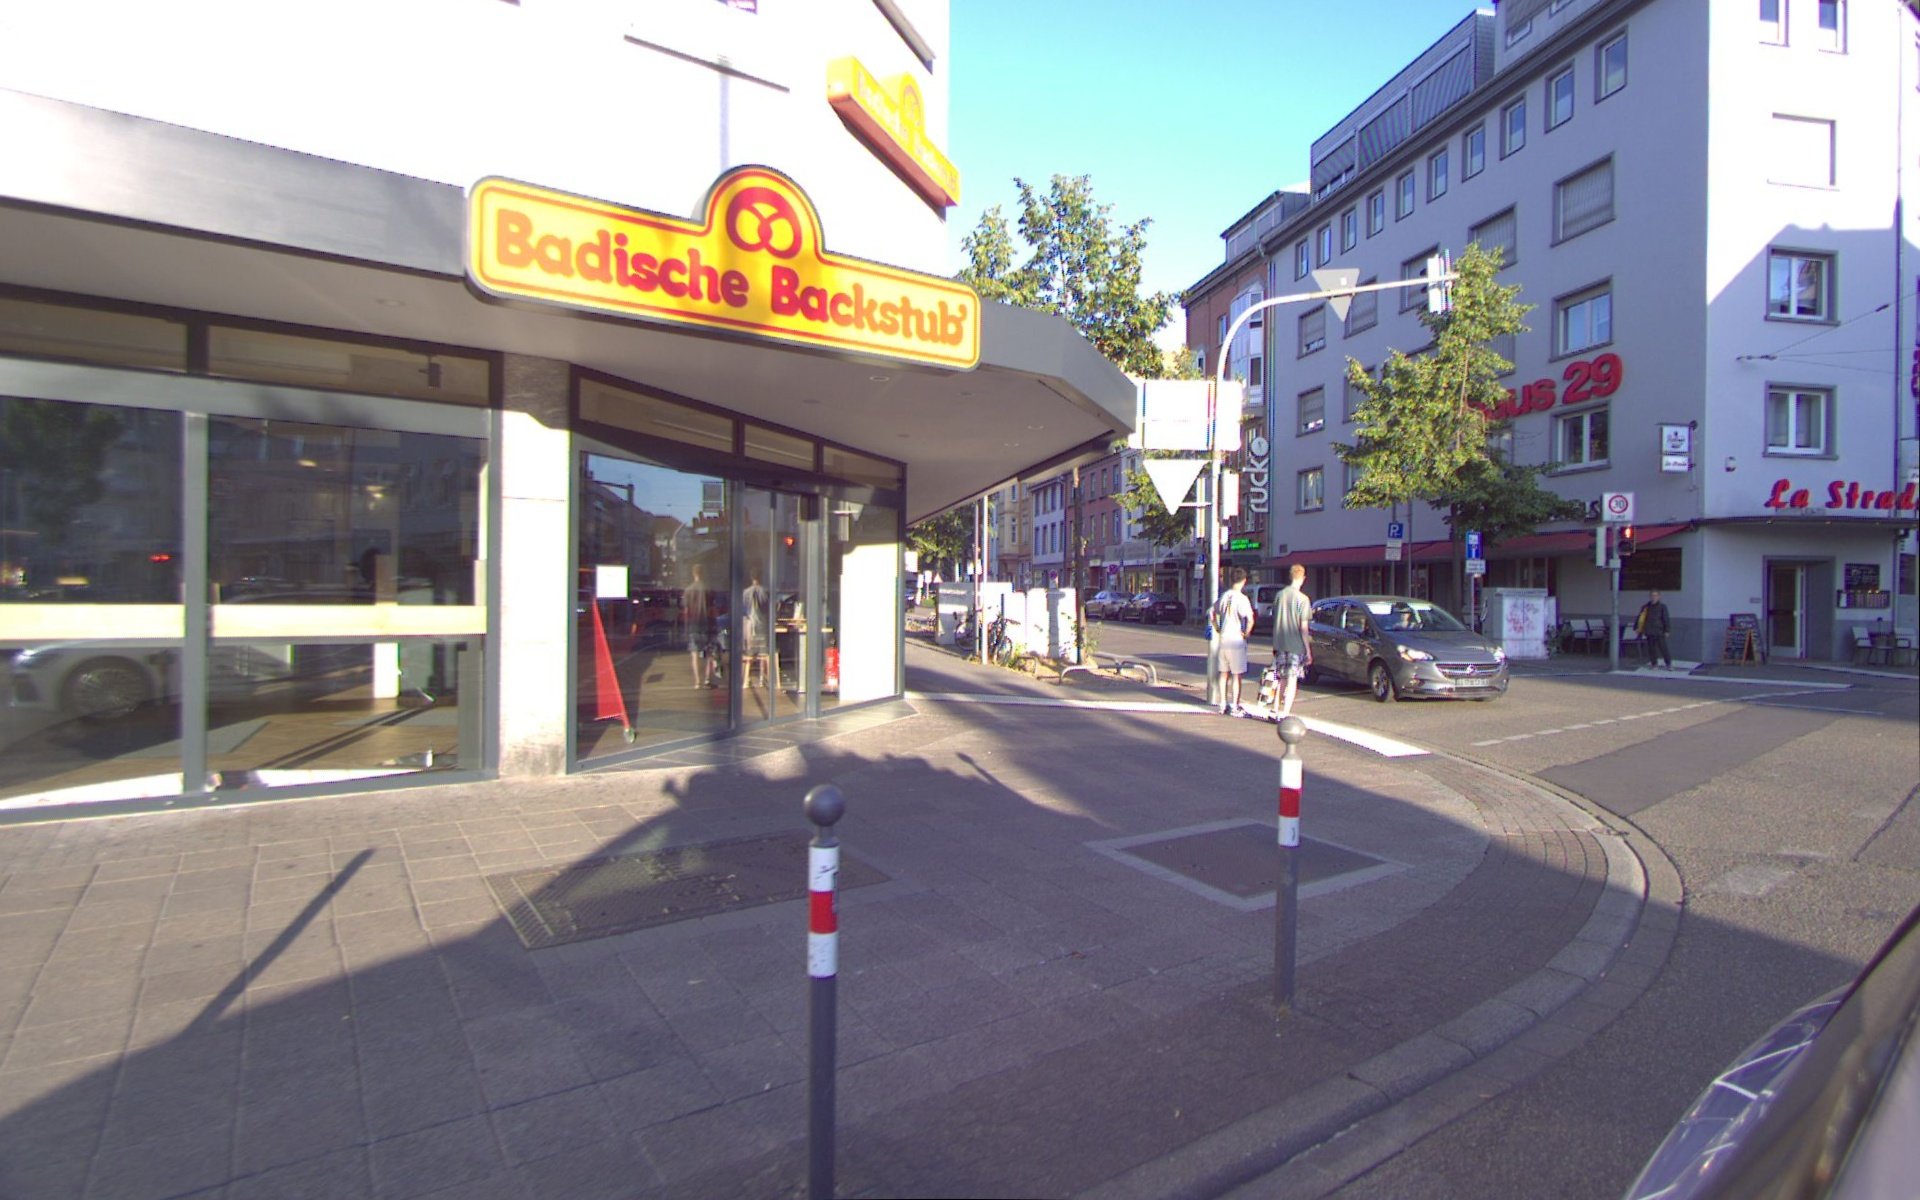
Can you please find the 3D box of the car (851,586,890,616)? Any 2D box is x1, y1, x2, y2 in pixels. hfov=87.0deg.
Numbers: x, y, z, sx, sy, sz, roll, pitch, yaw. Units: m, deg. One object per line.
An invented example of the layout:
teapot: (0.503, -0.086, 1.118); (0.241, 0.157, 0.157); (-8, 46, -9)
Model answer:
car: (-4.656, 0.050, 52.299); (1.620, 1.446, 4.007); (-1, 1, -11)

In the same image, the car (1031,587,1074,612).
car: (5.846, -0.054, 64.311); (1.701, 1.544, 3.849); (1, 0, -11)

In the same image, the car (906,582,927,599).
car: (-4.702, -1.041, 109.421); (1.730, 1.795, 3.879); (0, 1, -11)

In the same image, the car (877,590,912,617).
car: (-4.187, 0.194, 64.523); (1.657, 1.561, 3.739); (-1, 2, -12)

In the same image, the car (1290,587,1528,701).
car: (6.523, 0.545, 15.192); (1.556, 1.471, 3.847); (0, 1, -6)

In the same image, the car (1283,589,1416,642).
car: (11.608, 0.416, 30.479); (1.620, 1.370, 4.321); (1, 1, -12)

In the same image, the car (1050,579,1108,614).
car: (6.790, -0.195, 58.255); (1.933, 1.908, 4.956); (0, 0, -11)

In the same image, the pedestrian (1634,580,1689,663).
pedestrian: (14.505, 0.425, 20.933); (0.576, 1.677, 0.799); (0, 0, -37)

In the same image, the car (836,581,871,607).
car: (-6.269, -0.373, 59.290); (1.582, 1.411, 3.702); (-1, 1, -12)

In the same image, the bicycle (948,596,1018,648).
bicycle: (0.562, 0.514, 24.368); (1.627, 1.209, 0.495); (0, 0, -23)

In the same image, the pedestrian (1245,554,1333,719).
pedestrian: (3.735, 0.388, 11.491); (0.576, 1.795, 0.748); (0, 0, -41)

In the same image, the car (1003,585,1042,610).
car: (4.460, -0.197, 72.852); (1.839, 1.749, 4.149); (0, 1, -11)

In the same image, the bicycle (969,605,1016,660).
bicycle: (0.635, 0.631, 20.208); (0.396, 1.023, 1.674); (2, 0, -16)

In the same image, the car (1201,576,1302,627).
car: (10.438, 0.013, 36.536); (1.684, 1.684, 4.009); (-1, 2, -14)

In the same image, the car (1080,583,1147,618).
car: (7.728, -0.004, 51.416); (1.858, 1.619, 4.953); (1, 0, -10)

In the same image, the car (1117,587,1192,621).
car: (8.743, 0.133, 45.832); (1.767, 1.410, 4.427); (0, 1, -12)

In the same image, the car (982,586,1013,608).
car: (2.851, -0.245, 77.810); (1.652, 1.609, 3.523); (0, 1, -10)

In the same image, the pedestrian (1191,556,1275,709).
pedestrian: (3.318, 0.372, 12.328); (0.627, 1.795, 0.750); (0, 0, -31)
